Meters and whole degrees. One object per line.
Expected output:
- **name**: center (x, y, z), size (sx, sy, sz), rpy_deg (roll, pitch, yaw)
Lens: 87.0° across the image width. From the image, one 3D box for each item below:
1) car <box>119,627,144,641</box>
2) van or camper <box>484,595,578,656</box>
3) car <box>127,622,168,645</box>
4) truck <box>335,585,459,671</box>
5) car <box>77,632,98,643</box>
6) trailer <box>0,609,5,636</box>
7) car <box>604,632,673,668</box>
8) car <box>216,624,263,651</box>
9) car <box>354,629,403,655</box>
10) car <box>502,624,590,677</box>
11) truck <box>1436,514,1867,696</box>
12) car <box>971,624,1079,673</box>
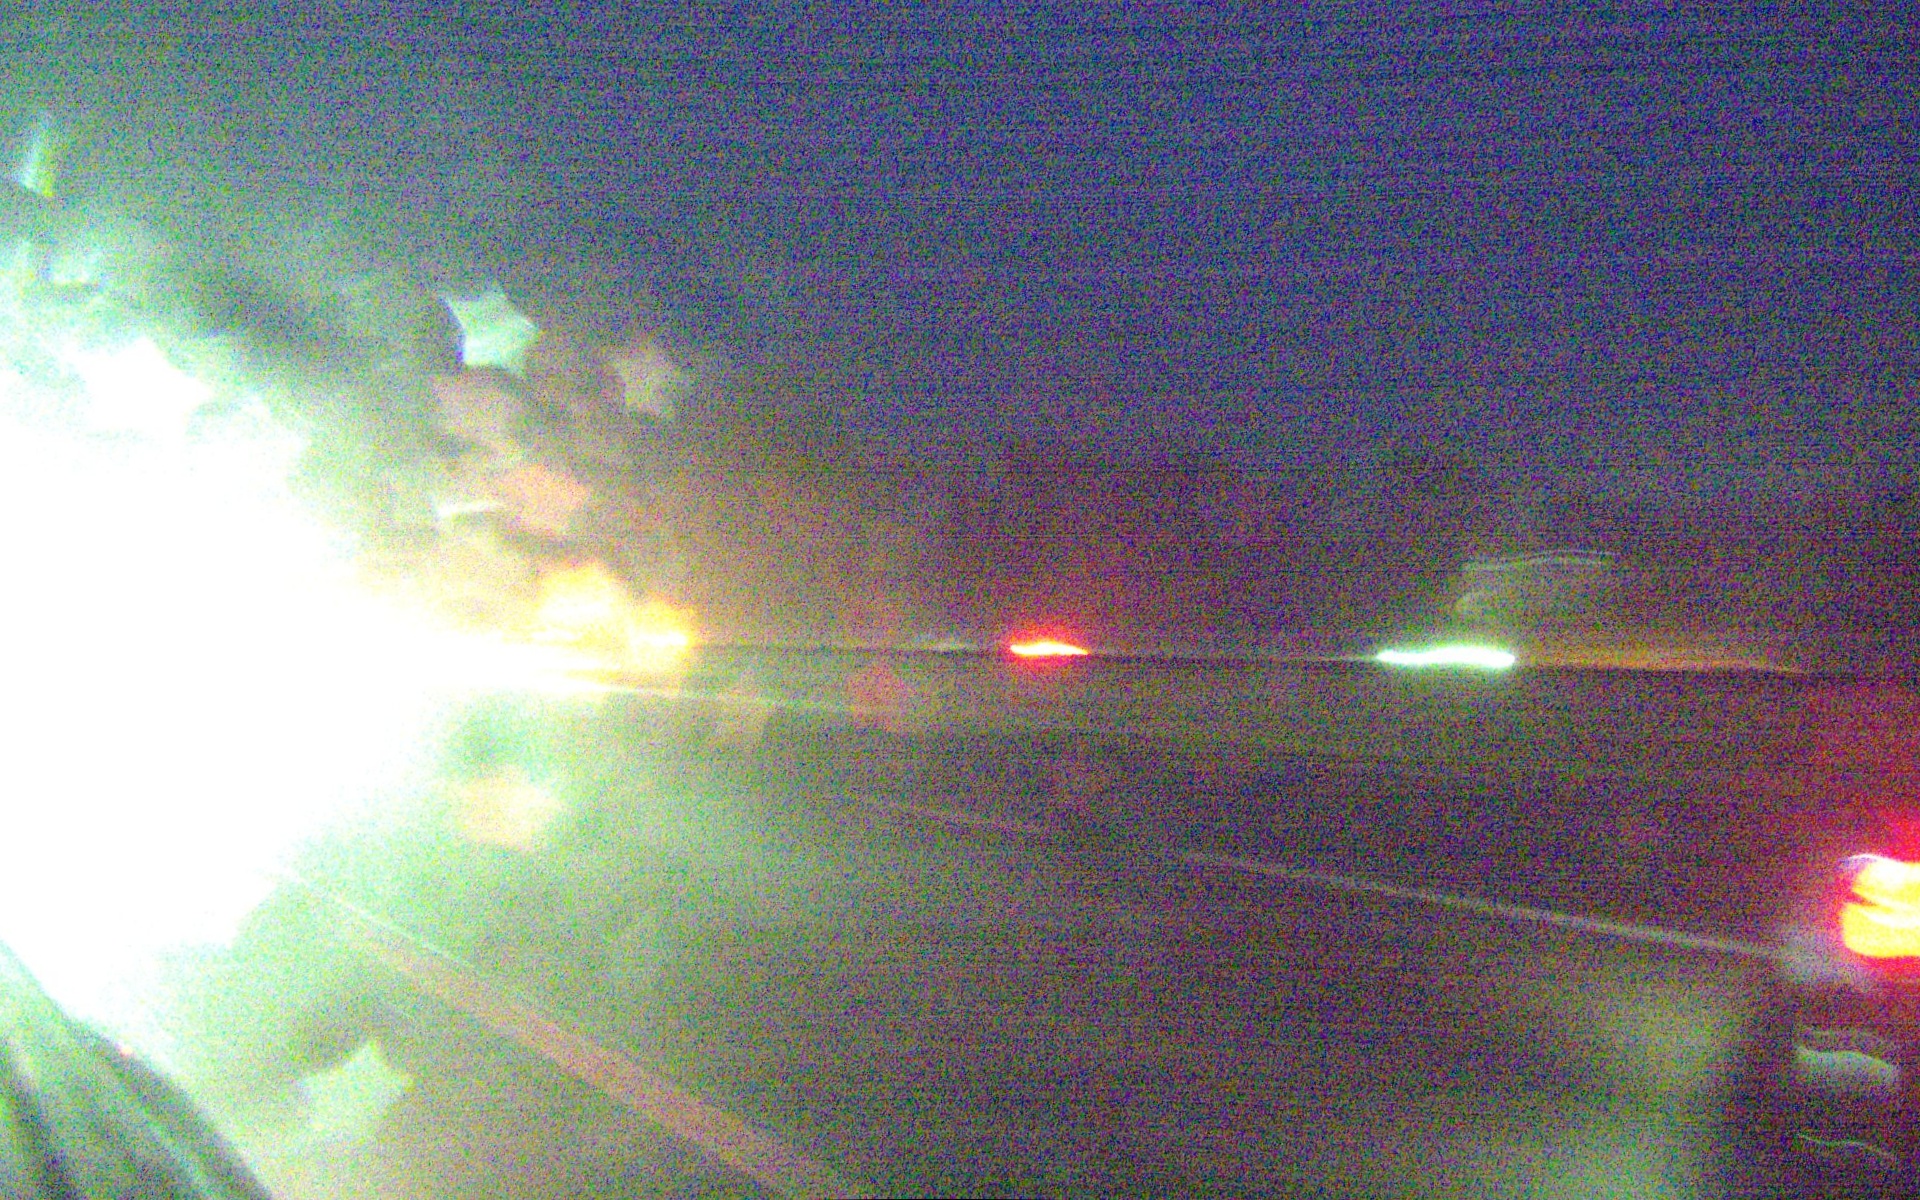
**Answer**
- **car**: center (-103.184, 4.198, 125.996), size (3.998, 1.702, 1.743), rpy_deg (-1, 0, 41)
- **van or camper**: center (-27.832, 1.600, 65.510), size (7.676, 3.729, 2.488), rpy_deg (-1, 0, 41)
- **car**: center (-73.208, 3.012, 91.172), size (5.267, 1.904, 2.052), rpy_deg (-1, 0, 41)
- **truck**: center (-46.138, 2.162, 82.474), size (17.295, 6.460, 3.189), rpy_deg (-1, 0, 41)
- **car**: center (-130.330, 5.581, 151.167), size (3.998, 1.584, 1.781), rpy_deg (-1, 0, 41)
- **trailer**: center (-188.783, 4.387, 196.366), size (14.794, 5.065, 3.749), rpy_deg (-1, 0, 41)
- **car**: center (-15.152, 2.327, 47.663), size (3.460, 1.512, 1.527), rpy_deg (-1, 0, 41)
- **car**: center (-50.749, 2.625, 71.280), size (4.754, 1.812, 1.647), rpy_deg (-1, 0, 41)
- **car**: center (-39.963, 2.864, 69.552), size (4.203, 1.640, 1.659), rpy_deg (-1, 0, 41)
- **car**: center (-17.207, 2.026, 41.980), size (3.998, 2.029, 1.772), rpy_deg (-1, 0, 41)
- **truck**: center (13.323, 0.100, 19.950), size (6.699, 3.022, 2.425), rpy_deg (-1, 0, 41)
- **car**: center (2.457, 1.813, 38.831), size (3.885, 1.685, 1.744), rpy_deg (-1, 0, 41)
